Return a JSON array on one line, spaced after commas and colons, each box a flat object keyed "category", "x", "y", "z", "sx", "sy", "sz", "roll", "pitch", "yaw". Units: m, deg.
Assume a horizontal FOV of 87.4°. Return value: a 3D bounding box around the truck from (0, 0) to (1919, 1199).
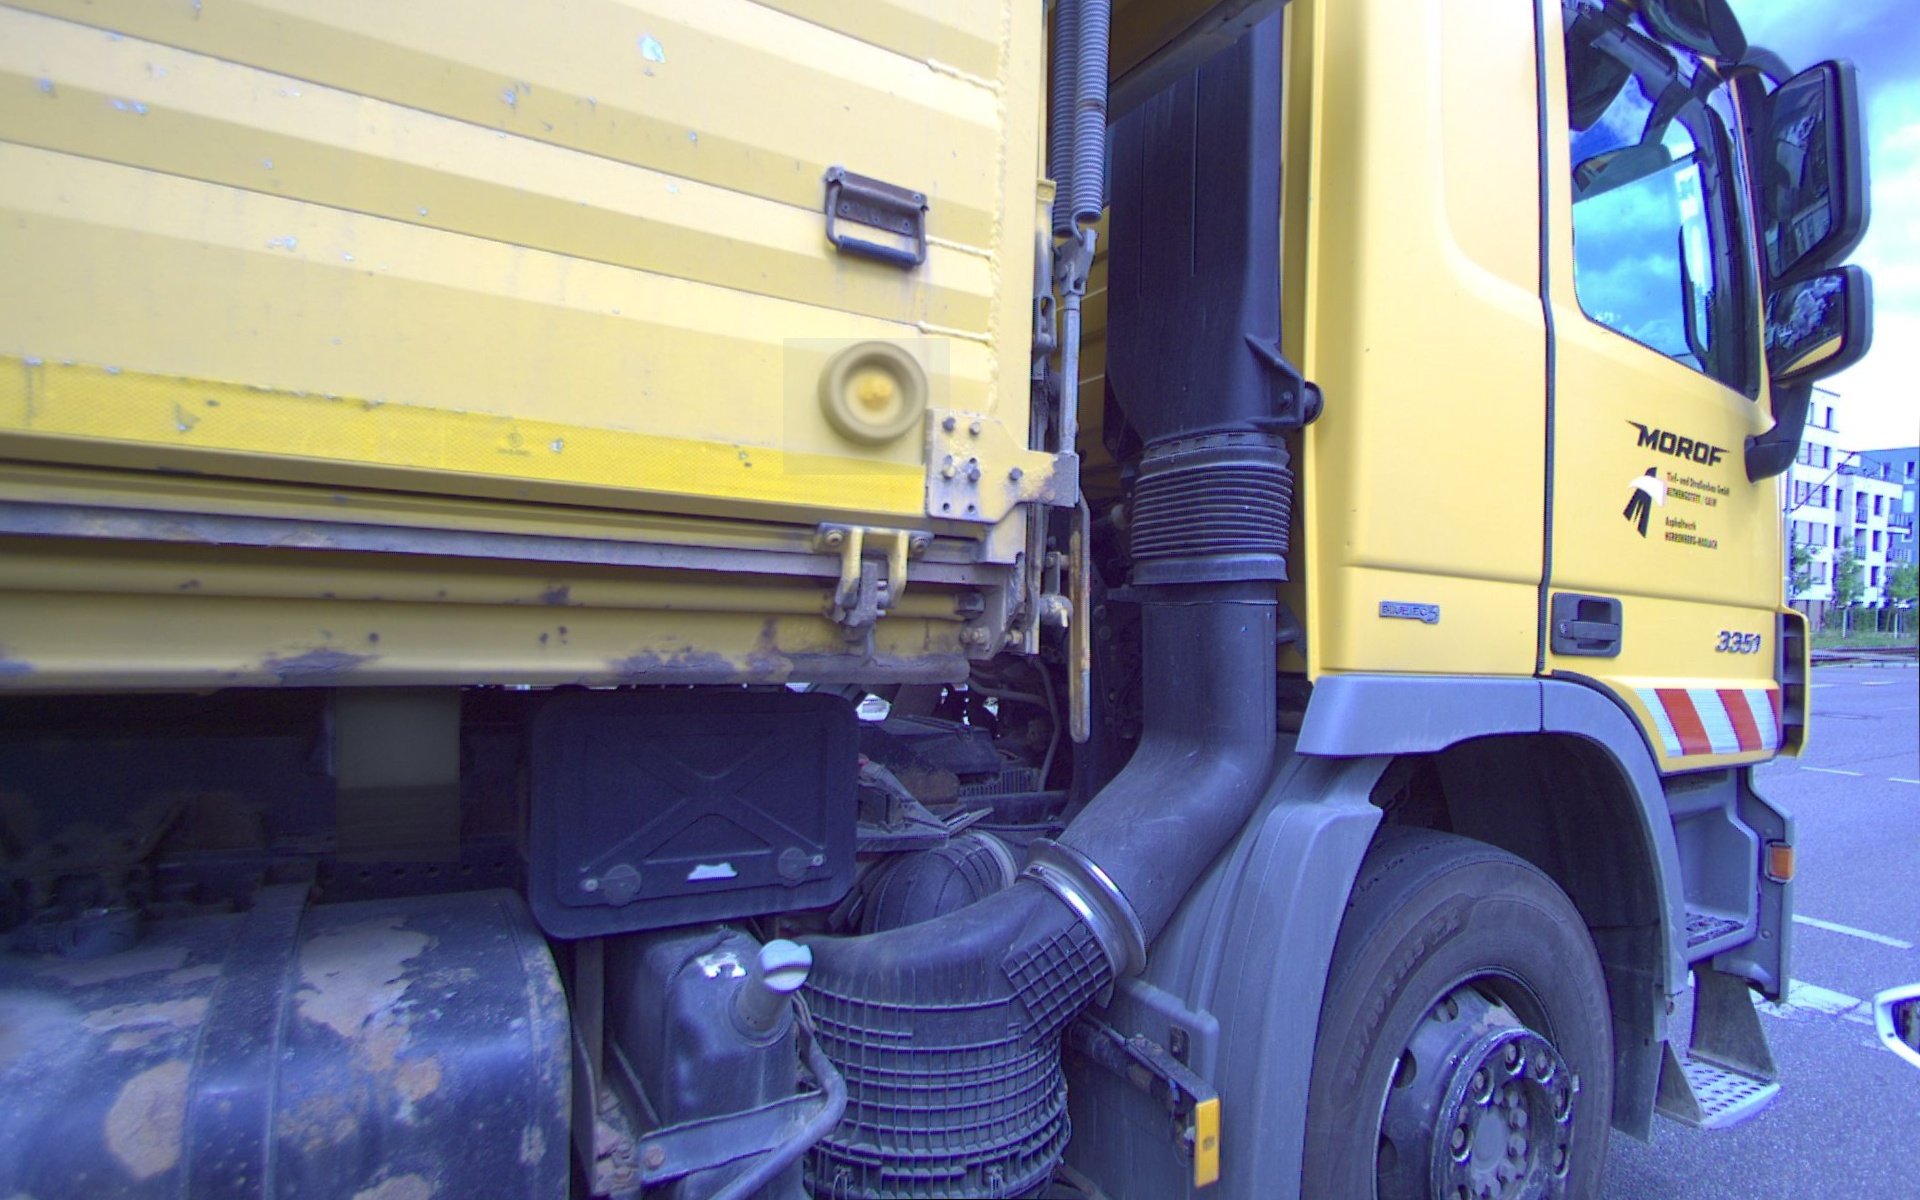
[{"category": "truck", "x": -1.544, "y": -0.036, "z": 1.598, "sx": 7.688, "sy": 3.043, "sz": 2.707, "roll": 2, "pitch": 0, "yaw": -30}]
